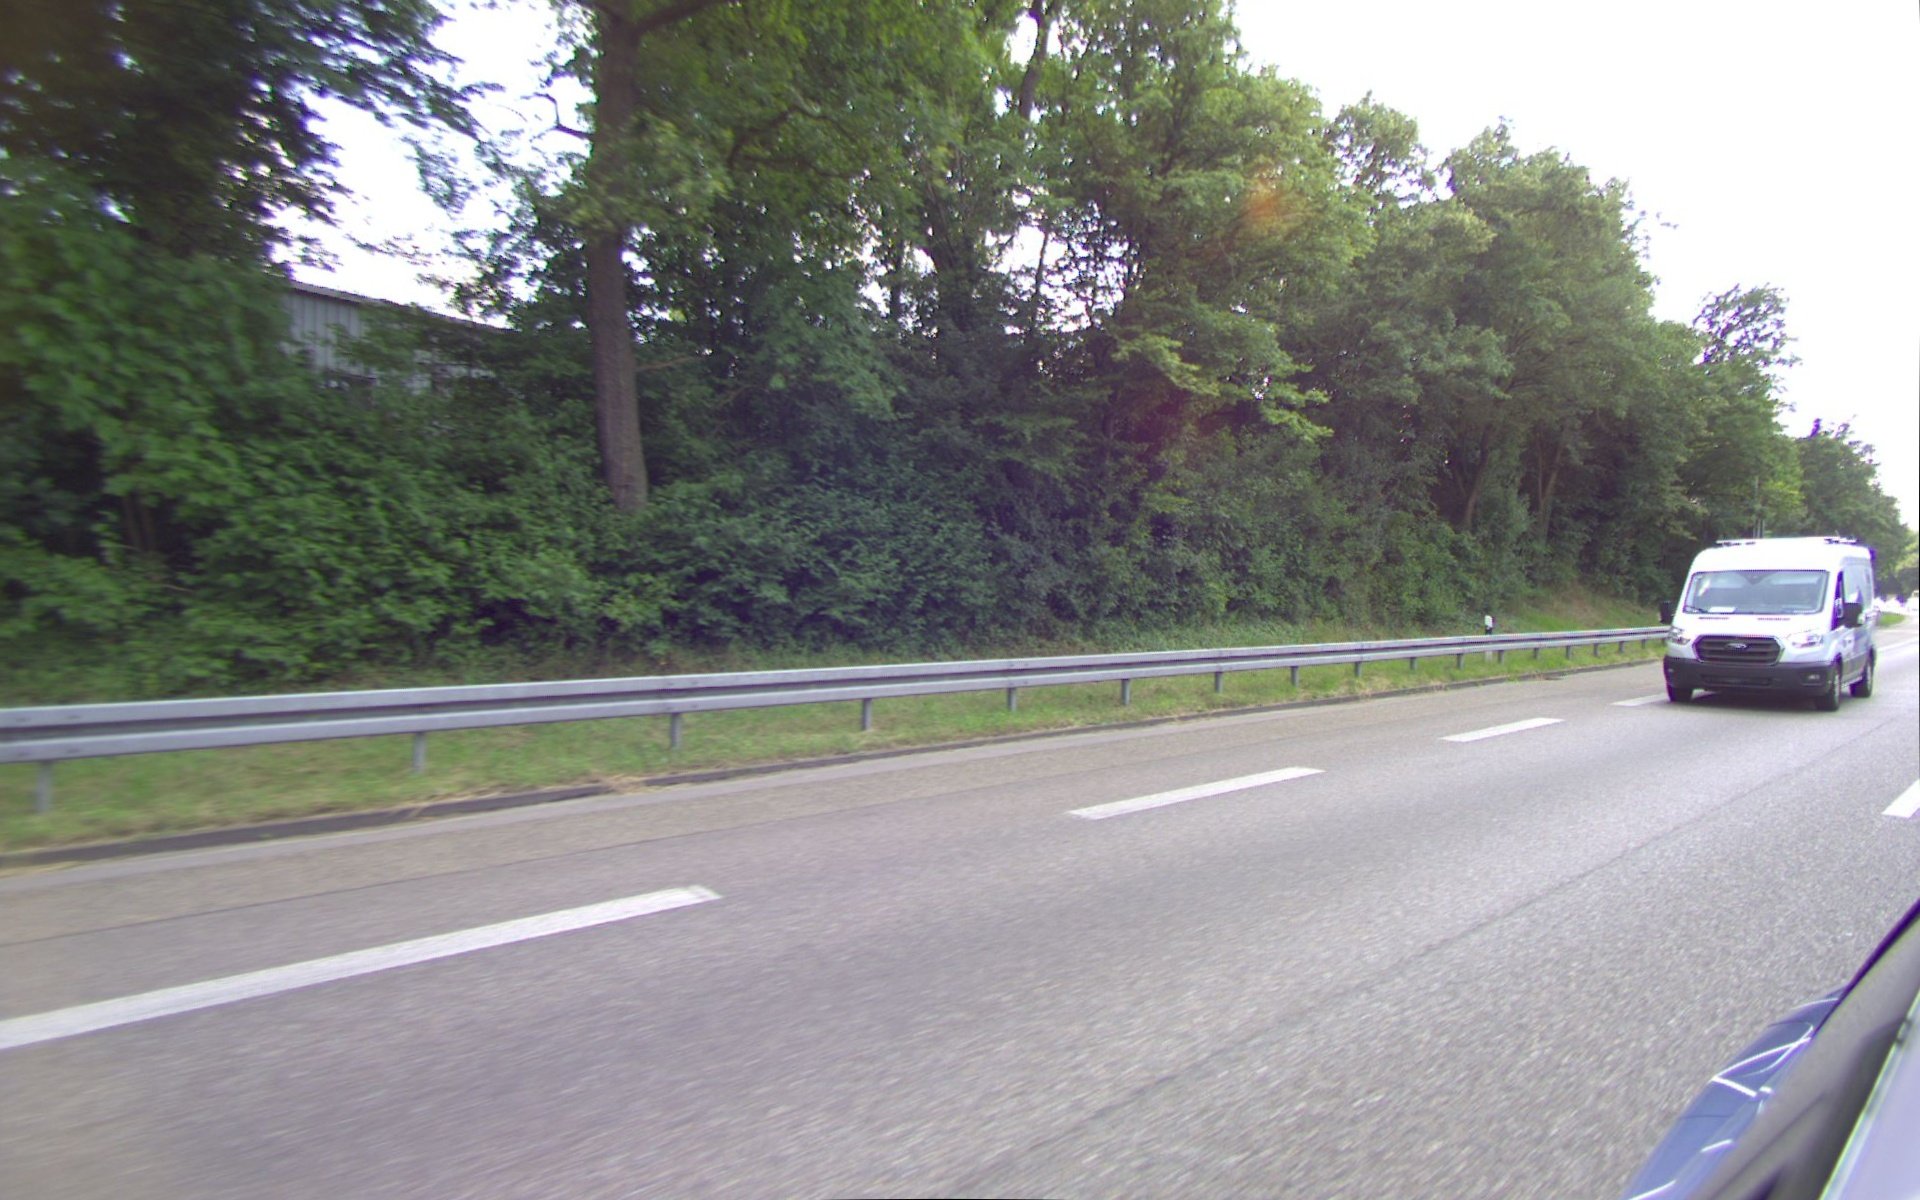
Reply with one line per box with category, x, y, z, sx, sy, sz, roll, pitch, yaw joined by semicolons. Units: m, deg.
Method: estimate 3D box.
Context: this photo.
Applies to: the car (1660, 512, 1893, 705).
car;12.919;0.108;15.880;5.190;2.539;2.101;0;-1;-43
